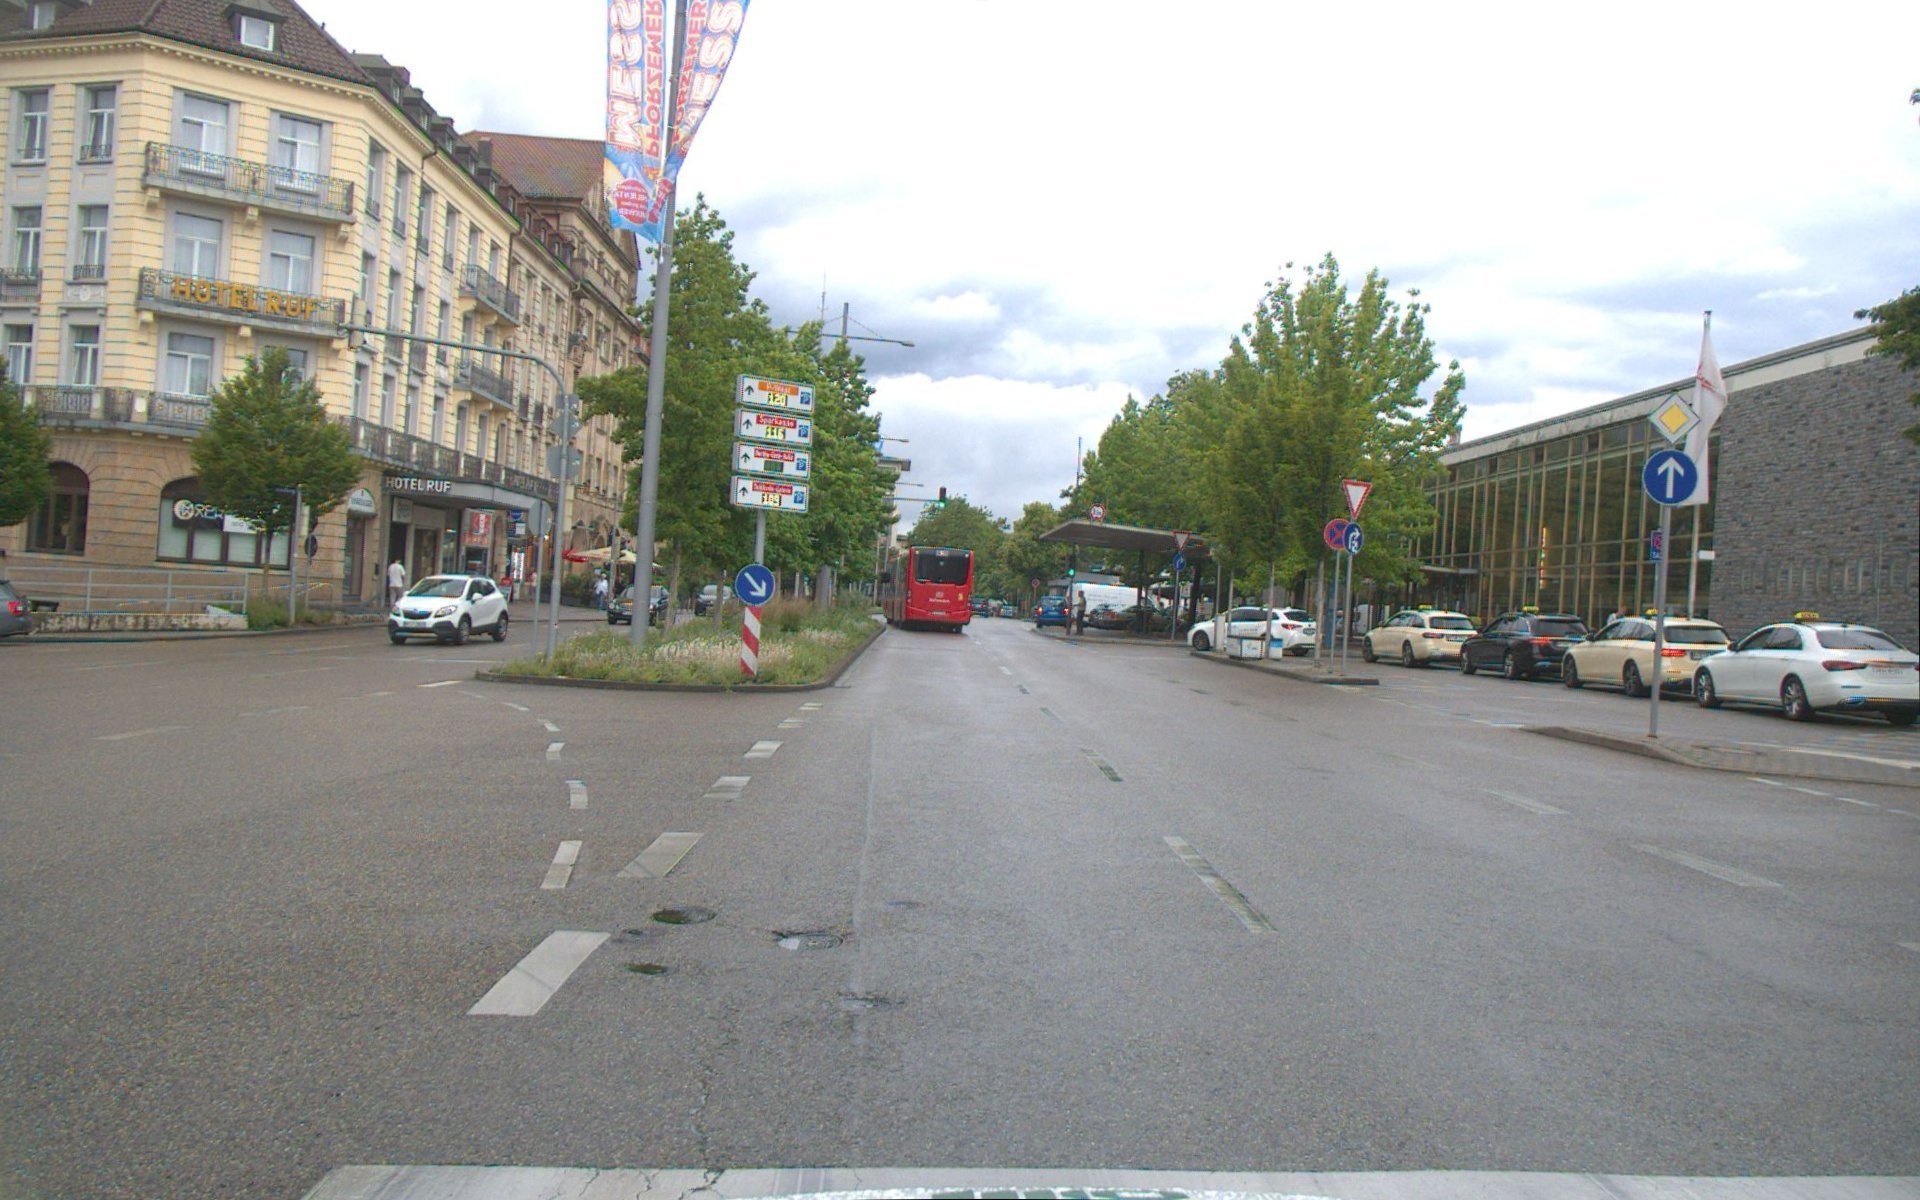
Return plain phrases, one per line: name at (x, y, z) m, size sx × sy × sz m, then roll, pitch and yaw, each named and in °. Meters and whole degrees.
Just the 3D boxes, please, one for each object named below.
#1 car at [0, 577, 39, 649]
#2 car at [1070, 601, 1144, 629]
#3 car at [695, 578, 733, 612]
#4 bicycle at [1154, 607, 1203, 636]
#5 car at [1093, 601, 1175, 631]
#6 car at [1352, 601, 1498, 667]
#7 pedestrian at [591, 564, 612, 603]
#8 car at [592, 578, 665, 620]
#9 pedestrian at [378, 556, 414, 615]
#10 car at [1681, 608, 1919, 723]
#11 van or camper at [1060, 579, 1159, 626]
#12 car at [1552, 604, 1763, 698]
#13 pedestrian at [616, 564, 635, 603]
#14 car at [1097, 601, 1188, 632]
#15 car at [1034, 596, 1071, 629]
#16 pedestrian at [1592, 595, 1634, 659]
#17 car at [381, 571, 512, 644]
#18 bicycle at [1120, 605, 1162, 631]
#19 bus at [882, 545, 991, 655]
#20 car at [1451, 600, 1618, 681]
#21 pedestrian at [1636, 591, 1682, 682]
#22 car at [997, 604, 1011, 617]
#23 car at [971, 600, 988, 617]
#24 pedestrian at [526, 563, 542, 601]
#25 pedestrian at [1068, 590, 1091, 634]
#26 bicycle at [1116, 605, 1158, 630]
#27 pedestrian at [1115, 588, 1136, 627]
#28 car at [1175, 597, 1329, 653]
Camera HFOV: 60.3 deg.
car at (-21.496, 0.238, 33.981) m, size 4.385 × 1.491 × 1.685 m, roll 1°, pitch 0°, yaw -27°
car at (8.609, 0.884, 96.847) m, size 3.940 × 1.468 × 1.848 m, roll 3°, pitch -1°, yaw -28°
car at (-11.593, -0.222, 78.101) m, size 1.645 × 1.539 × 3.858 m, roll 1°, pitch 0°, yaw -7°
bicycle at (8.338, 0.812, 63.112) m, size 1.790 × 1.074 × 0.420 m, roll 1°, pitch -1°, yaw -1°
car at (9.073, 0.846, 86.110) m, size 3.947 × 1.383 × 1.845 m, roll 3°, pitch -1°, yaw -32°
car at (12.527, 0.889, 44.875) m, size 1.956 × 1.627 × 4.949 m, roll 1°, pitch 0°, yaw -8°
pedestrian at (-15.845, -0.723, 73.130) m, size 0.667 × 1.693 × 0.807 m, roll 1°, pitch -1°, yaw 2°
car at (-12.007, -0.031, 60.087) m, size 1.916 × 1.447 × 3.999 m, roll 1°, pitch 0°, yaw -1°
pedestrian at (-17.897, -0.455, 52.521) m, size 0.861 × 1.844 × 0.750 m, roll 1°, pitch -1°, yaw -1°
car at (13.472, 0.964, 26.278) m, size 1.841 × 1.627 × 4.902 m, roll 1°, pitch 0°, yaw -1°
van or camper at (9.311, 0.187, 102.917) m, size 5.878 × 2.811 × 2.178 m, roll 1°, pitch 0°, yaw -28°
car at (13.376, 0.918, 32.084) m, size 1.953 × 1.627 × 4.958 m, roll 1°, pitch 0°, yaw -1°
pedestrian at (-14.787, -0.725, 73.129) m, size 0.667 × 1.693 × 0.807 m, roll 1°, pitch -1°, yaw -1°
car at (9.103, 0.833, 82.444) m, size 4.125 × 1.348 × 1.829 m, roll 3°, pitch -1°, yaw -21°
car at (4.786, 0.667, 85.485) m, size 1.820 × 1.596 × 4.001 m, roll 2°, pitch -1°, yaw 3°
pedestrian at (16.837, 0.689, 42.646) m, size 0.753 × 1.607 × 0.710 m, roll 1°, pitch -1°, yaw -5°
car at (-12.447, 0.180, 40.344) m, size 1.916 × 1.646 × 4.207 m, roll 1°, pitch 0°, yaw -1°
bicycle at (7.834, 0.776, 71.635) m, size 1.800 × 1.074 × 0.418 m, roll 1°, pitch -1°, yaw -19°
bus at (-1.129, 0.026, 67.005) m, size 3.476 × 4.049 × 11.158 m, roll 1°, pitch 0°, yaw -5°
car at (13.178, 0.880, 38.284) m, size 1.953 × 1.627 × 4.956 m, roll 3°, pitch 0°, yaw -2°
pedestrian at (17.102, 0.882, 40.454) m, size 0.779 × 2.202 × 0.722 m, roll 1°, pitch -1°, yaw -5°
car at (5.885, 1.442, 221.083) m, size 1.611 × 1.690 × 3.649 m, roll 1°, pitch 0°, yaw -1°
car at (1.963, 0.844, 166.228) m, size 1.562 × 1.588 × 3.649 m, roll 1°, pitch 0°, yaw -1°
pedestrian at (-19.138, -0.821, 74.317) m, size 0.654 × 1.693 × 0.535 m, roll 1°, pitch -1°, yaw -9°
pedestrian at (4.838, 0.481, 66.948) m, size 0.732 × 1.777 × 0.834 m, roll 2°, pitch -1°, yaw -9°
bicycle at (7.718, 0.776, 72.080) m, size 1.800 × 1.074 × 0.418 m, roll 1°, pitch -1°, yaw -19°
pedestrian at (8.125, 0.361, 81.279) m, size 0.839 × 1.867 × 1.189 m, roll 2°, pitch -1°, yaw -1°
car at (9.022, 0.765, 51.415) m, size 1.747 × 1.573 × 4.708 m, roll 2°, pitch -1°, yaw -40°
